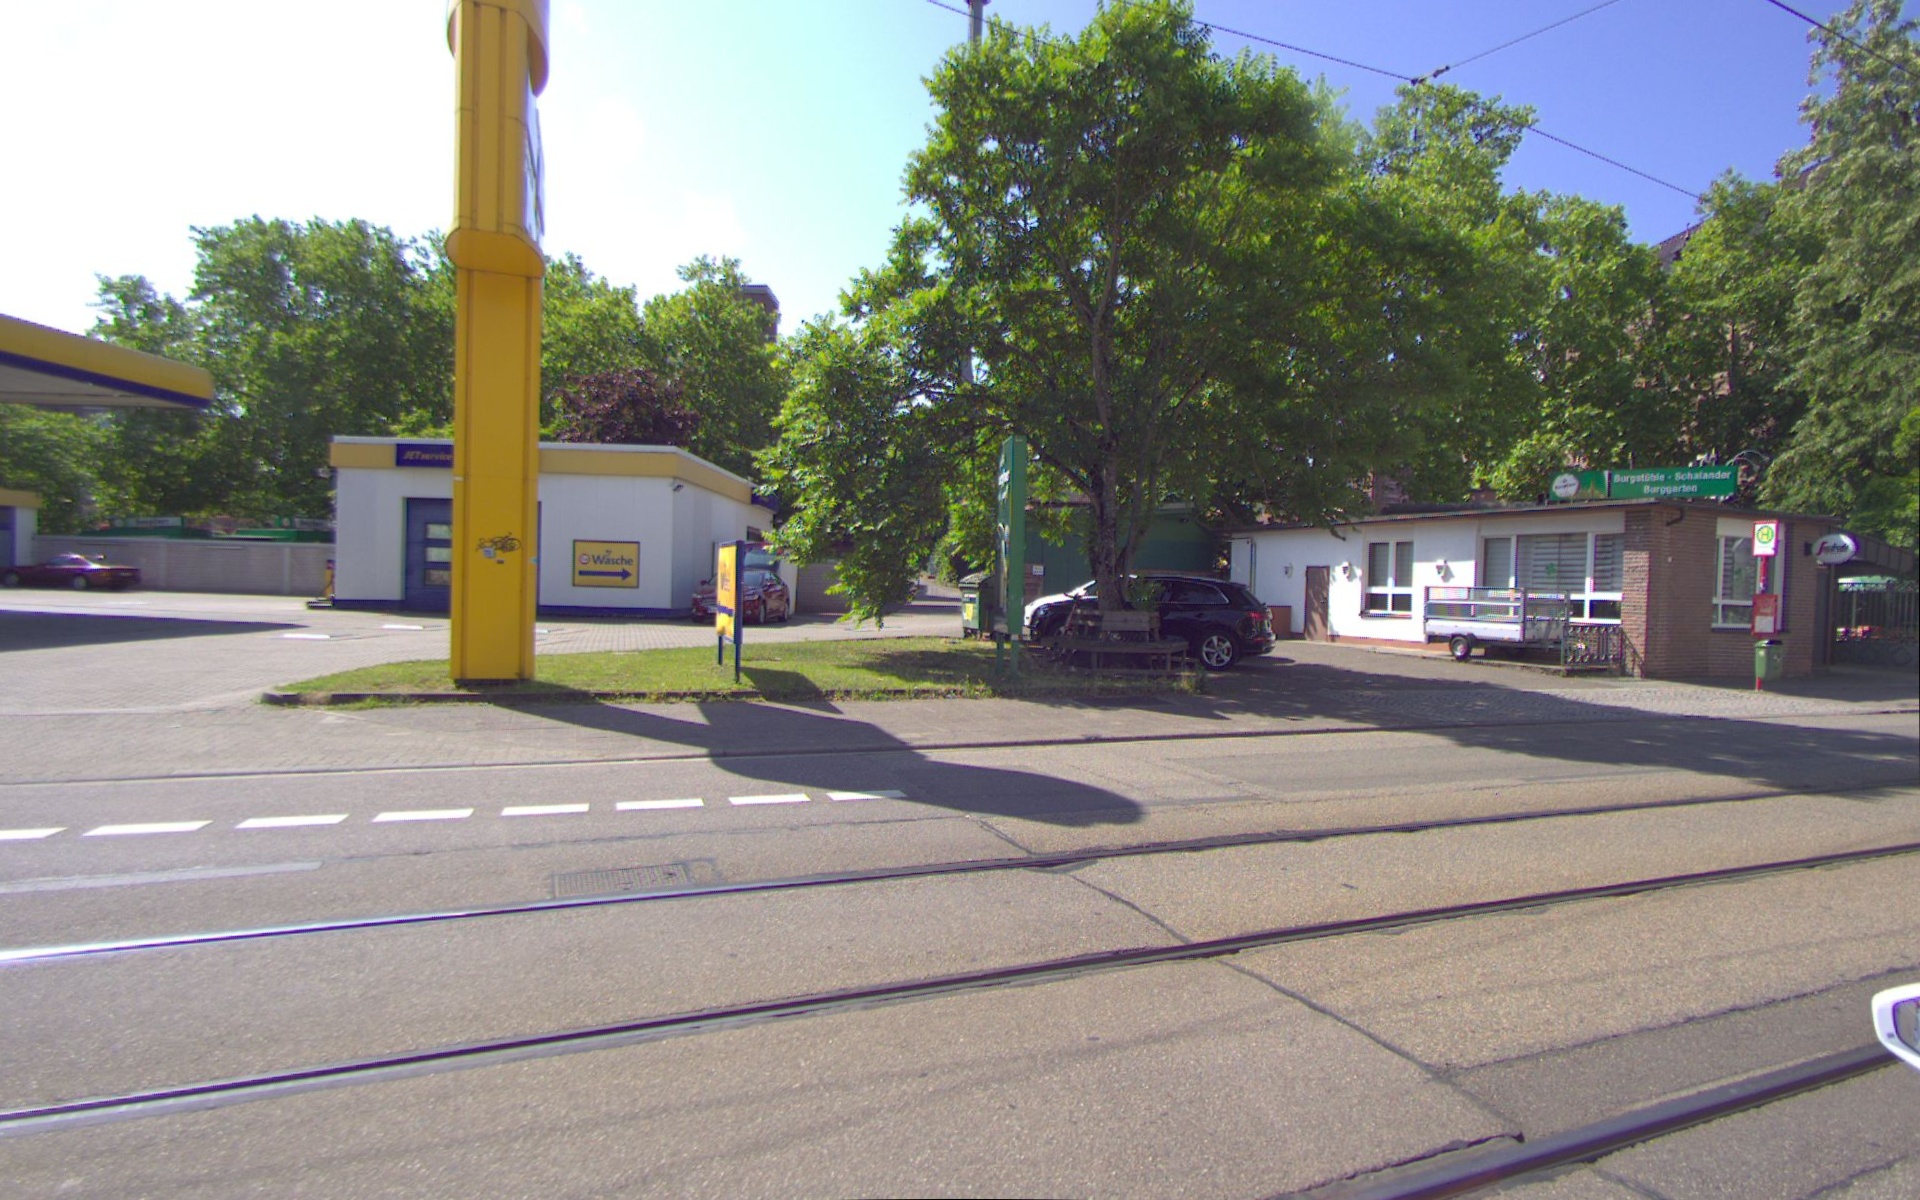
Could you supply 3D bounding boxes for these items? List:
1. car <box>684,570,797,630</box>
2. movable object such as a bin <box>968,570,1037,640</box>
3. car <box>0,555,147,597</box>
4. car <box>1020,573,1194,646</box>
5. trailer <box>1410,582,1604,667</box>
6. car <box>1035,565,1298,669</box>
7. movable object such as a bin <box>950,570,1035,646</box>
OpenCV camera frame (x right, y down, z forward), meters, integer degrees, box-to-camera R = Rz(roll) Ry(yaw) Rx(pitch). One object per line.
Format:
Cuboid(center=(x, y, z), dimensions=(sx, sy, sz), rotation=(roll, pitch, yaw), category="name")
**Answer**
Cuboid(center=(-5.807, -0.038, 27.203), dimensions=(1.855, 1.480, 4.557), rotation=(1, 1, 3), category="car")
Cuboid(center=(0.961, 0.109, 23.218), dimensions=(1.354, 1.522, 1.420), rotation=(1, 1, -7), category="movable object such as a bin")
Cuboid(center=(-33.196, -0.899, 37.583), dimensions=(4.051, 1.378, 1.761), rotation=(2, 1, -1), category="car")
Cuboid(center=(3.658, 0.189, 24.921), dimensions=(3.921, 1.578, 1.847), rotation=(2, 1, 21), category="car")
Cuboid(center=(11.576, 0.472, 21.459), dimensions=(1.698, 1.625, 3.267), rotation=(2, 1, -22), category="trailer")
Cuboid(center=(3.919, 0.265, 19.017), dimensions=(4.568, 1.663, 2.020), rotation=(2, 1, 21), category="car")
Cuboid(center=(0.669, 0.154, 21.388), dimensions=(1.358, 1.522, 1.415), rotation=(1, 1, -20), category="movable object such as a bin")
